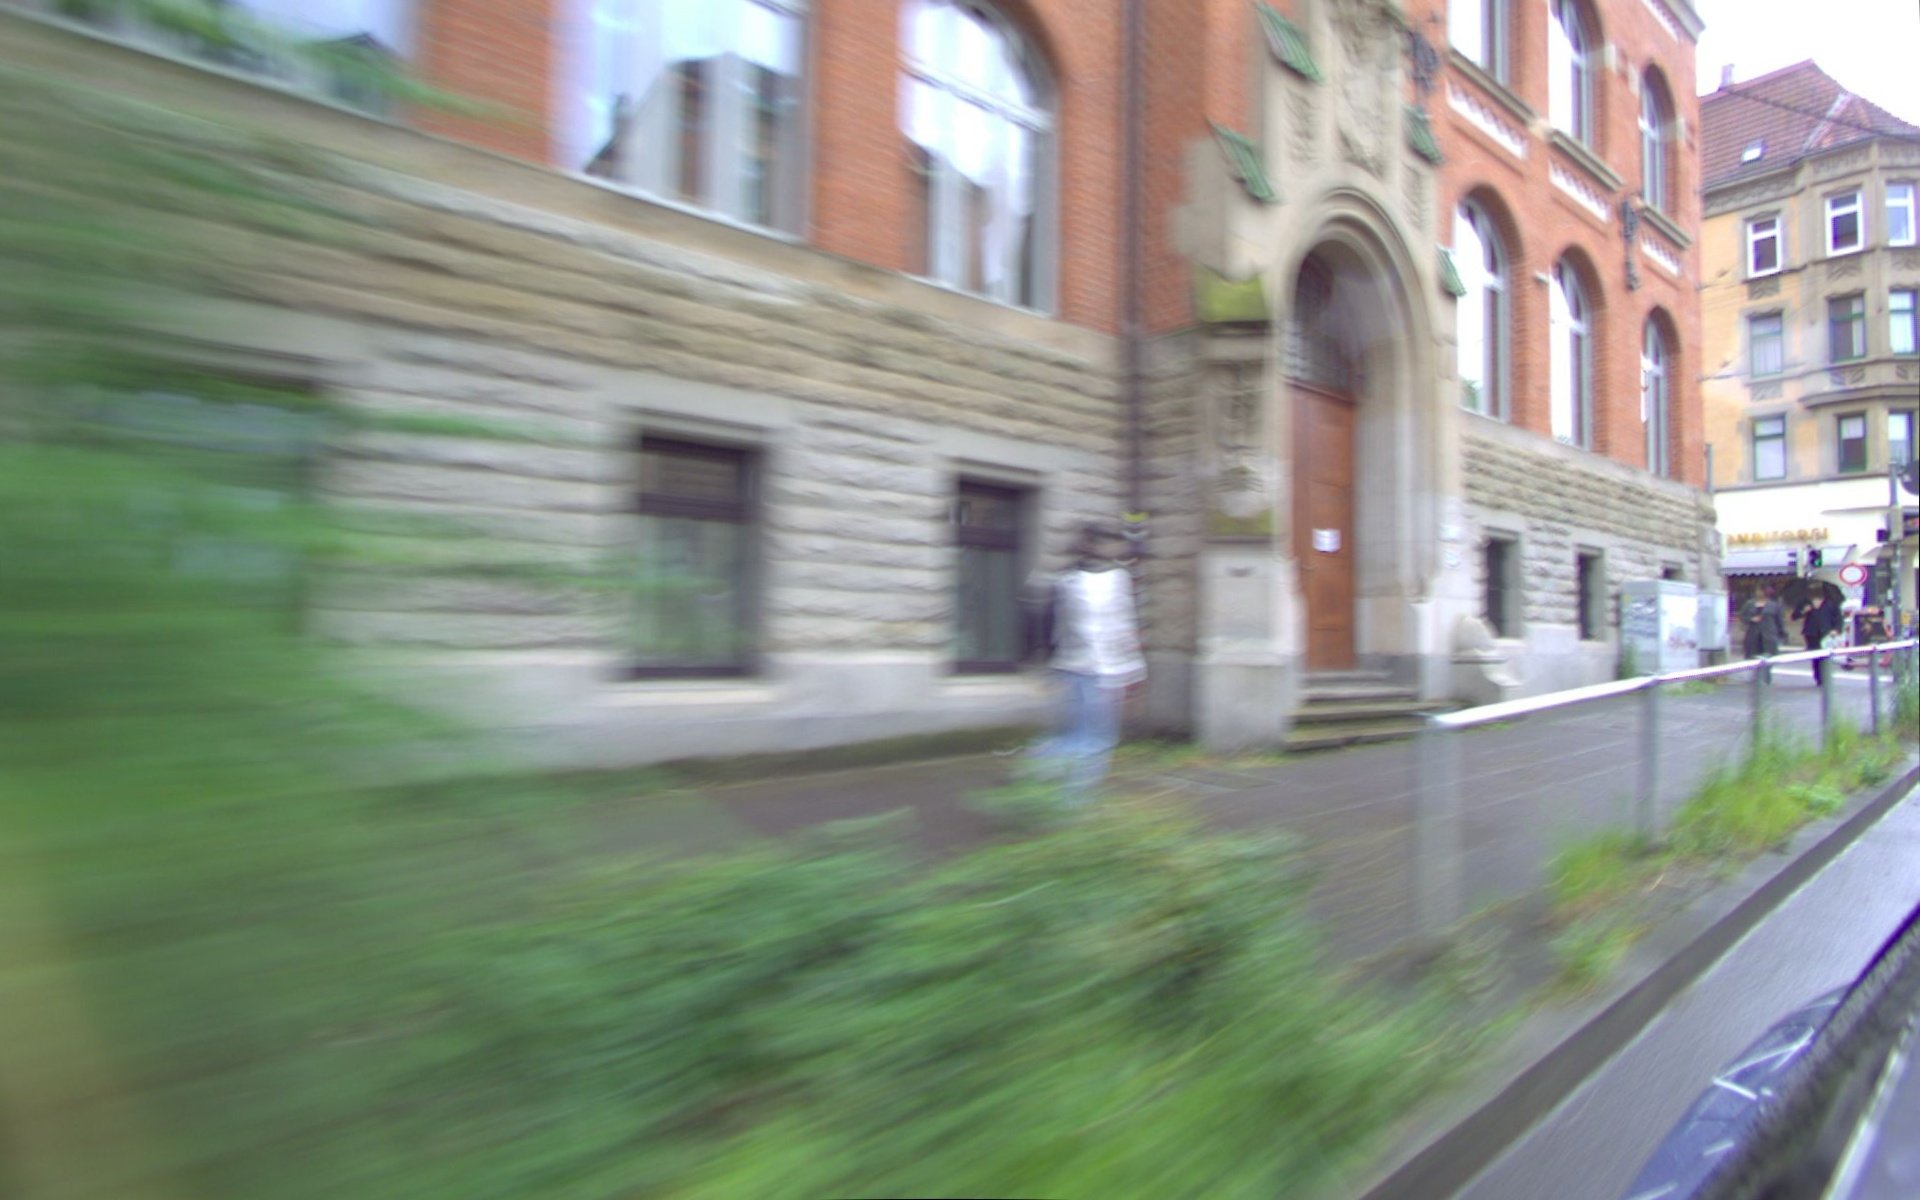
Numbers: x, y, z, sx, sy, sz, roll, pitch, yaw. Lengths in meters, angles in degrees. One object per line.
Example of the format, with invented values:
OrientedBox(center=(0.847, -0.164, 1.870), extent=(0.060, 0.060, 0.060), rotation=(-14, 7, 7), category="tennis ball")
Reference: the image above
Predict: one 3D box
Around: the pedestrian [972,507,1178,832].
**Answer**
OrientedBox(center=(0.660, 0.360, 5.886), extent=(0.844, 1.700, 0.825), rotation=(0, 0, -36), category="pedestrian")

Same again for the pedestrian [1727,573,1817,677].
OrientedBox(center=(13.449, 0.390, 16.767), extent=(1.054, 1.646, 0.960), rotation=(0, 1, -39), category="pedestrian")

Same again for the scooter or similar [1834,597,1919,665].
OrientedBox(center=(18.122, 0.582, 19.917), extent=(0.624, 1.266, 1.253), rotation=(0, 1, -17), category="scooter or similar")

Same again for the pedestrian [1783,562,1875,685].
OrientedBox(center=(14.164, 0.355, 16.503), extent=(1.054, 1.911, 0.960), rotation=(0, 1, -39), category="pedestrian")
